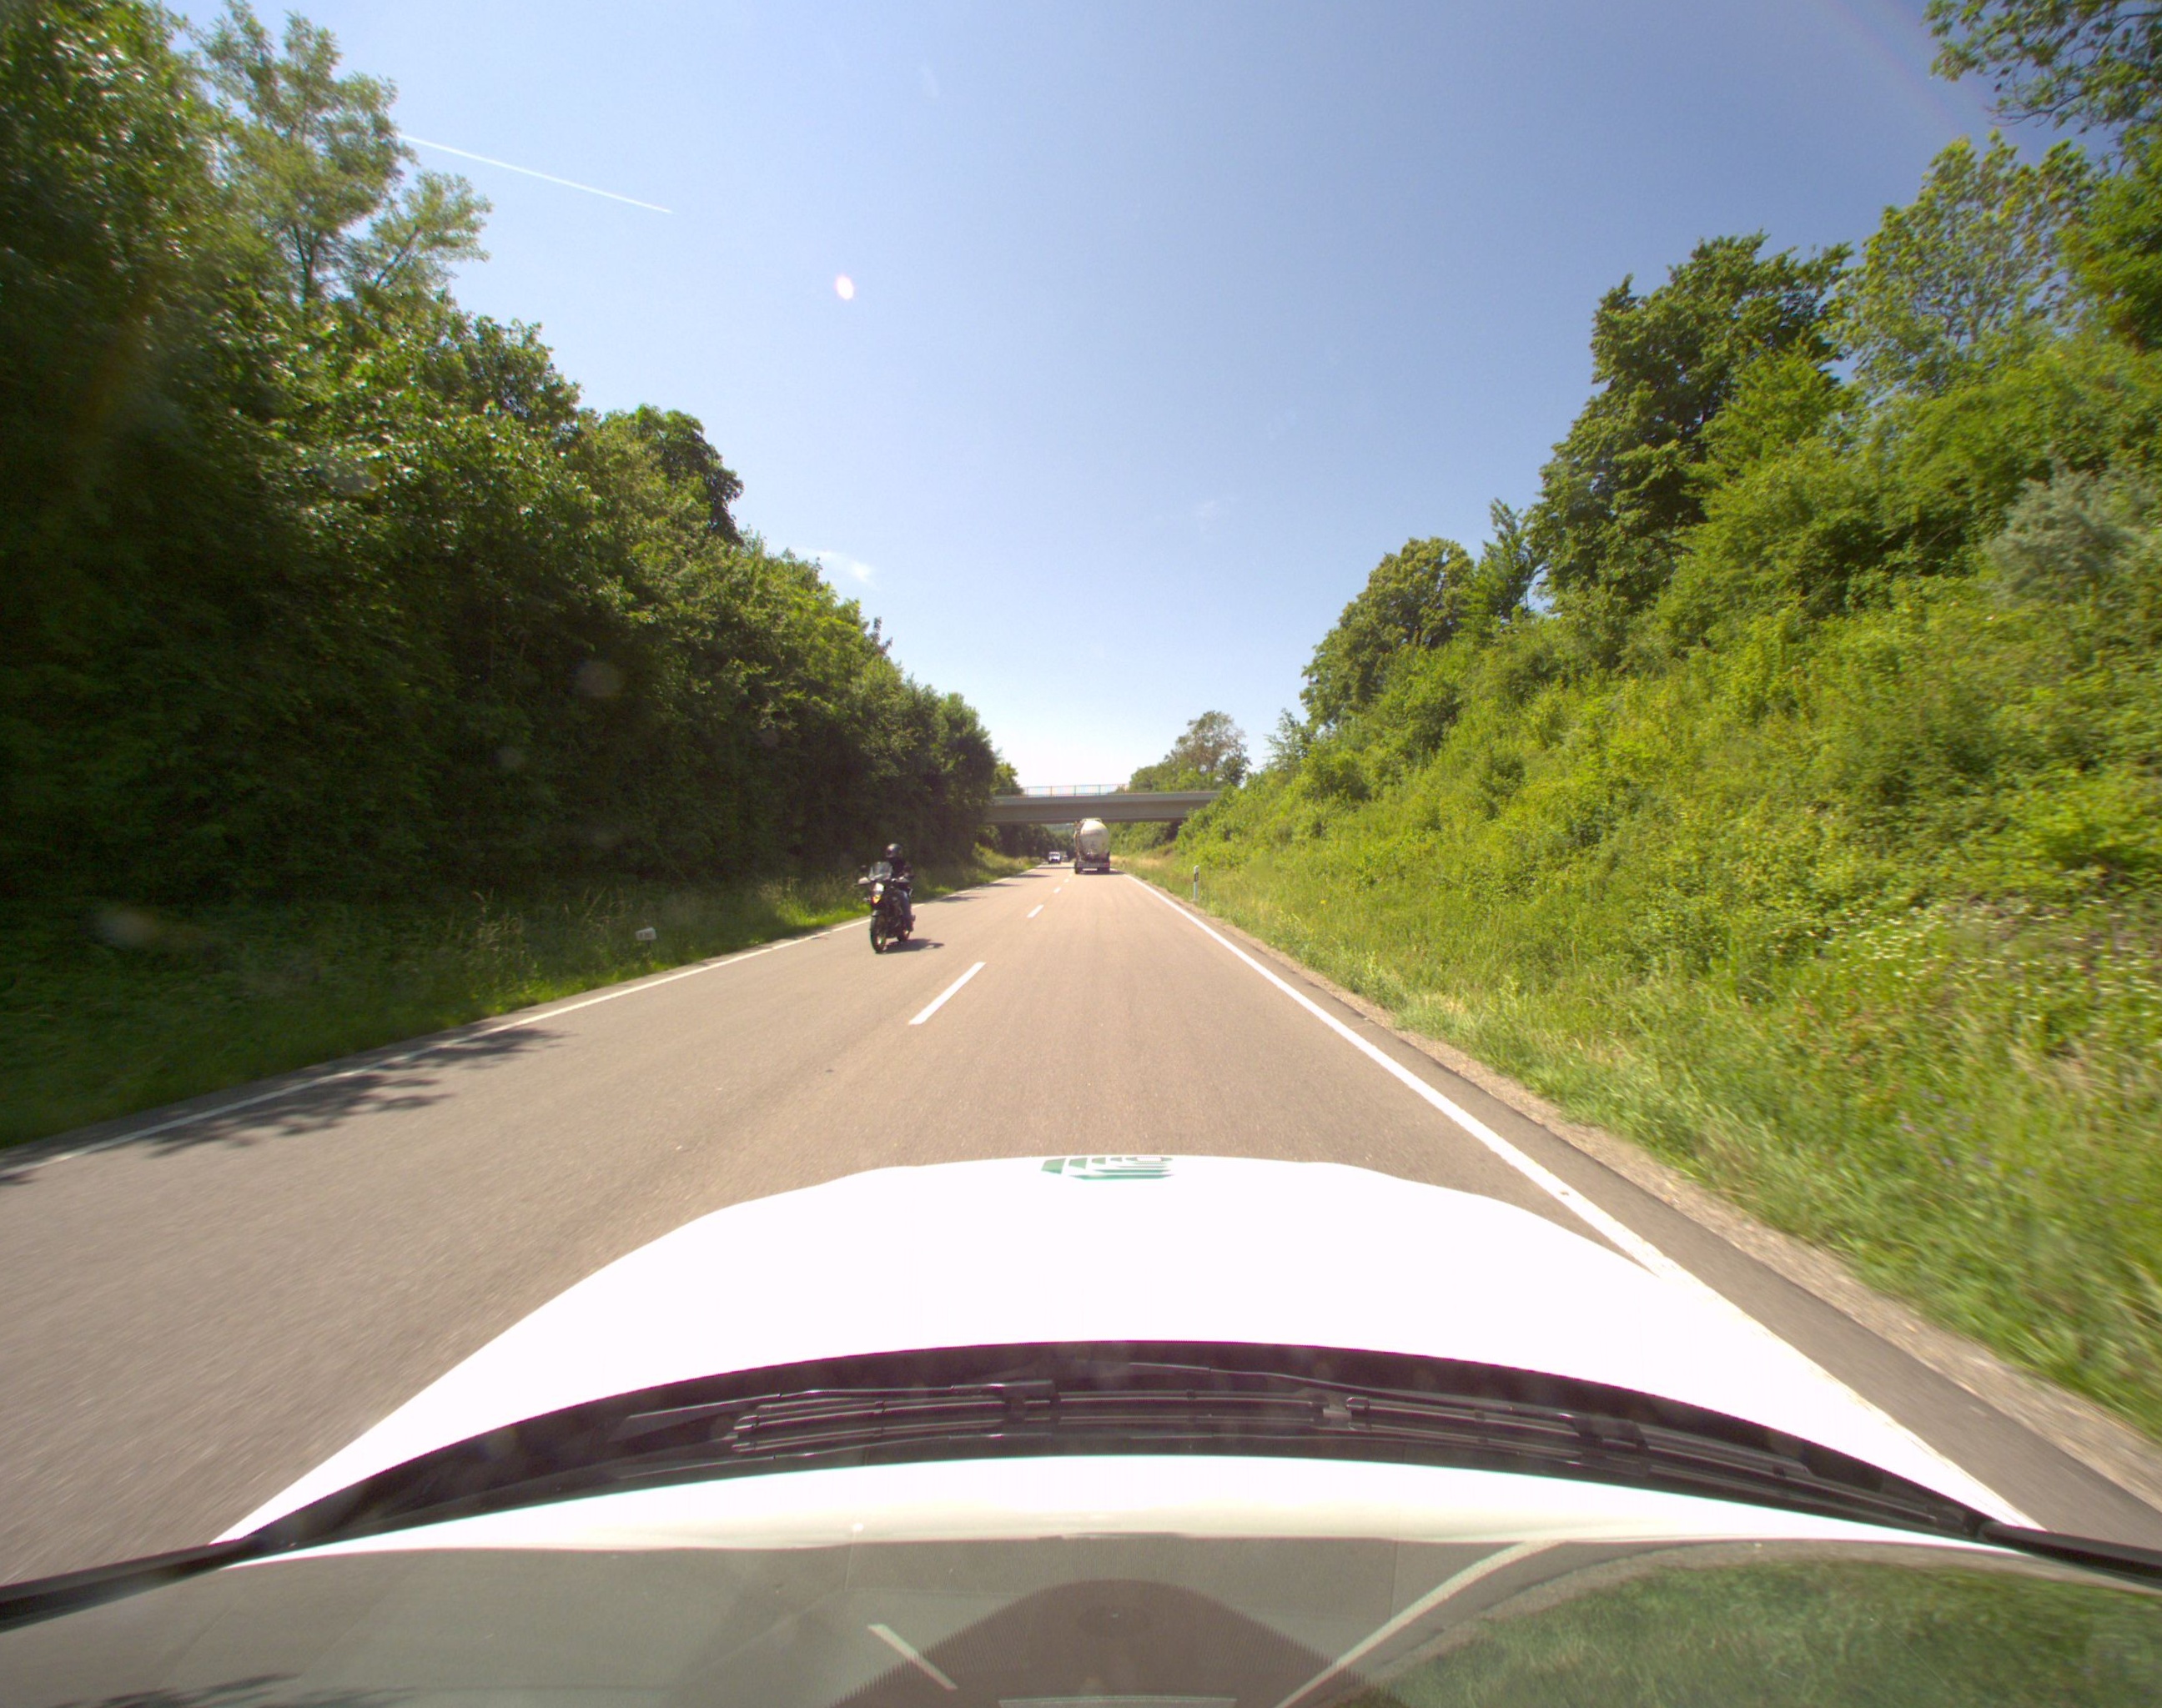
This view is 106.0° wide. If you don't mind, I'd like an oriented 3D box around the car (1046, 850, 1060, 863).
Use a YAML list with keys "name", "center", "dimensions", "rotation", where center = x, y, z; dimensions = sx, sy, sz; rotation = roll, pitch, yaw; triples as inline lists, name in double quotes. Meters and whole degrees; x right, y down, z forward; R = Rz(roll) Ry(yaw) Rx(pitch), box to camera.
- name: "car"
  center: [-4.404, 0.414, 127.836]
  dimensions: [1.925, 1.905, 5.326]
  rotation: [-1, 0, 0]

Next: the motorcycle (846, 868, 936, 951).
- name: "motorcycle"
  center: [-3.180, 0.892, 13.914]
  dimensions: [0.860, 1.221, 2.444]
  rotation: [-1, 0, 2]

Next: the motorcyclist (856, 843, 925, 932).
- name: "motorcyclist"
  center: [-3.191, 0.544, 13.763]
  dimensions: [0.846, 1.437, 1.074]
  rotation: [-1, 0, 2]

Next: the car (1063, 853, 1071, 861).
- name: "car"
  center: [-3.623, 0.785, 209.195]
  dimensions: [1.989, 2.013, 3.996]
  rotation: [0, 0, -3]

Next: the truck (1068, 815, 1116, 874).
- name: "truck"
  center: [0.626, -0.534, 63.953]
  dimensions: [3.041, 3.998, 15.625]
  rotation: [2, -1, -1]
